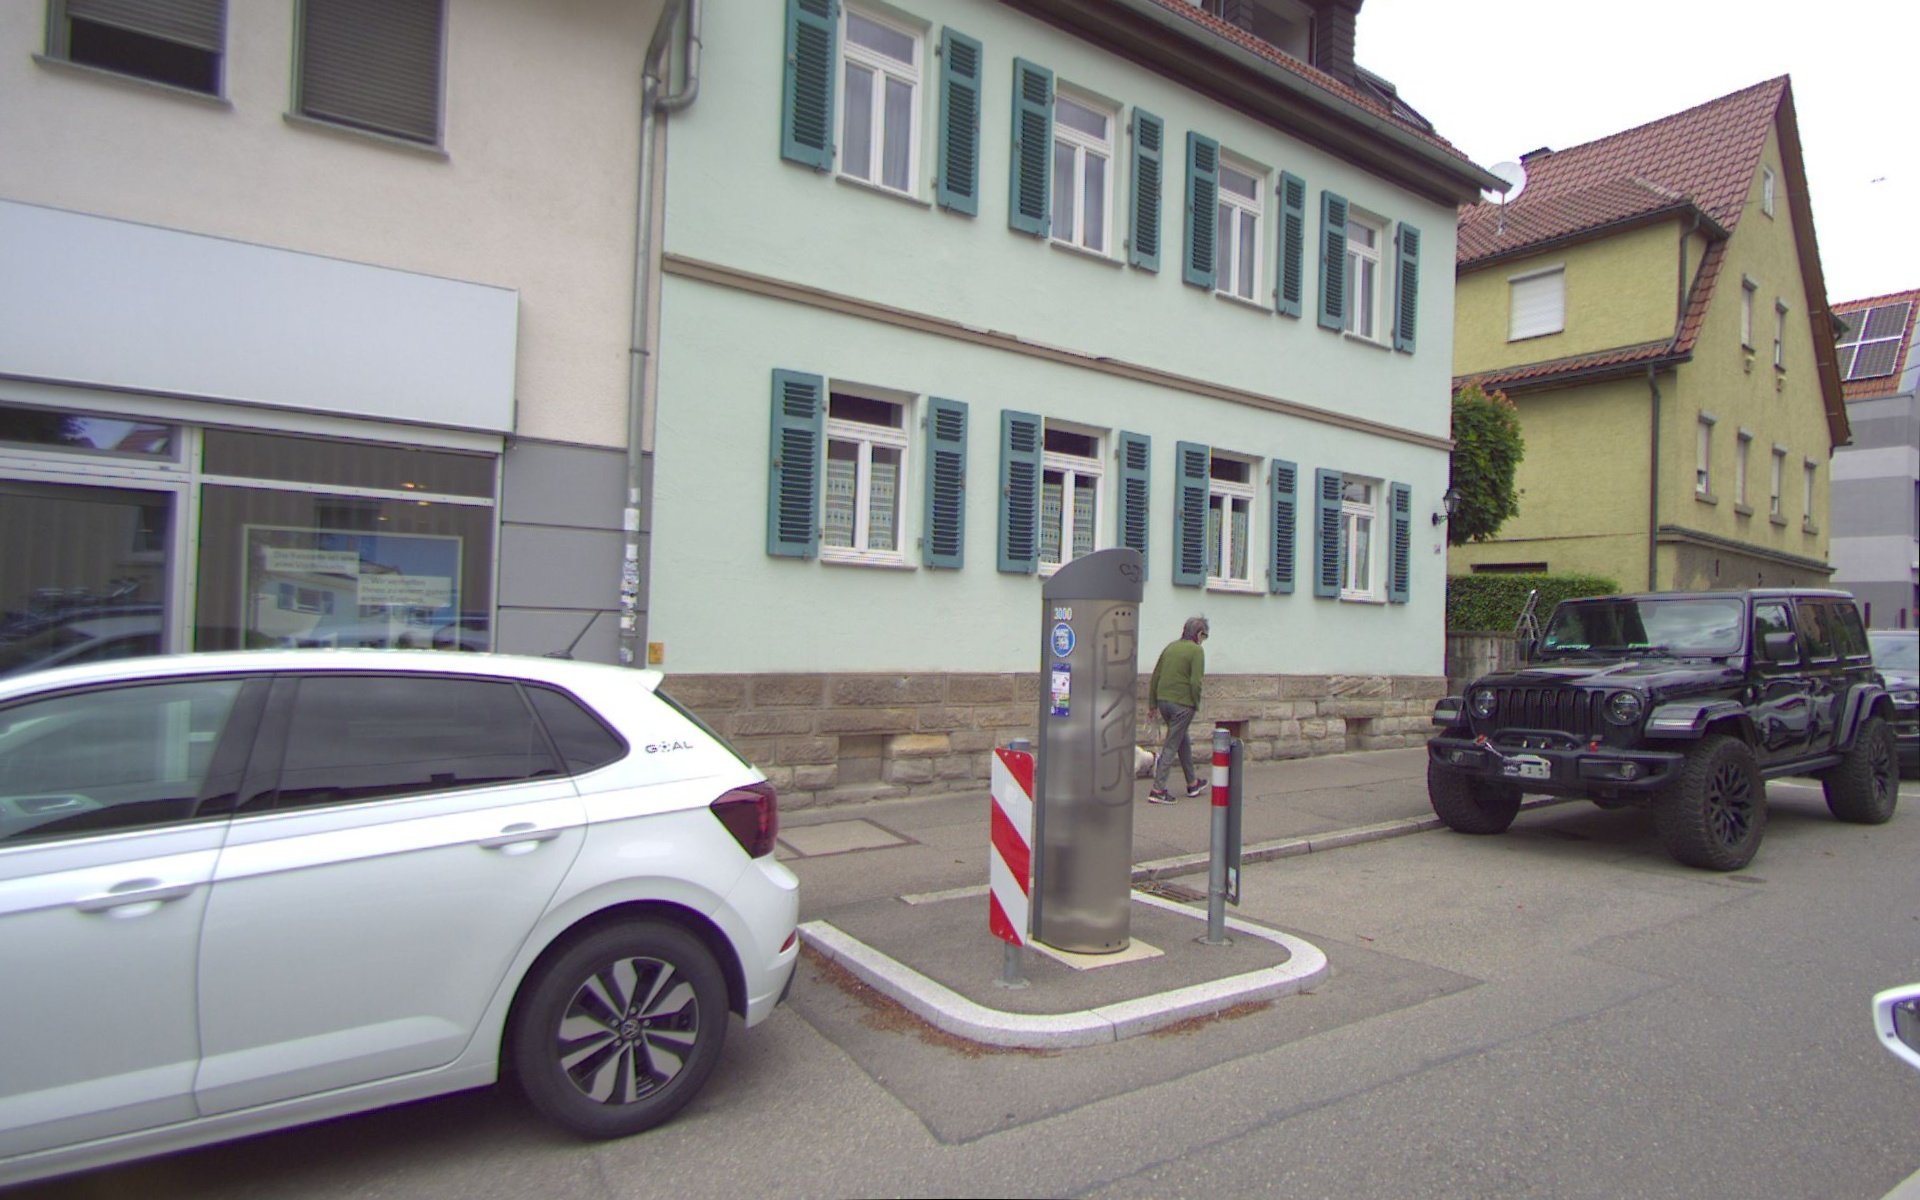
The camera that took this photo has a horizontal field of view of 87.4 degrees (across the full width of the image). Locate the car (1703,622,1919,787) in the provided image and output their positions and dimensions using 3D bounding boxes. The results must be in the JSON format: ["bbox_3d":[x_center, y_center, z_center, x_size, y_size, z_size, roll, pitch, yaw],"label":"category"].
[{"bbox_3d":[11.040,1.116,12.289,4.482,1.640,1.884,0,-2,-36],"label":"car"}]

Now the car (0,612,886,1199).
[{"bbox_3d":[-2.415,0.789,3.245,3.872,1.455,1.988,1,0,-30],"label":"car"}]

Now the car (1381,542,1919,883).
[{"bbox_3d":[5.710,0.762,8.136,4.620,2.040,1.982,1,-3,-33],"label":"car"}]

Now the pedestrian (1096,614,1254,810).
[{"bbox_3d":[1.805,0.902,8.476,0.964,1.520,0.802,2,0,-31],"label":"pedestrian"}]
